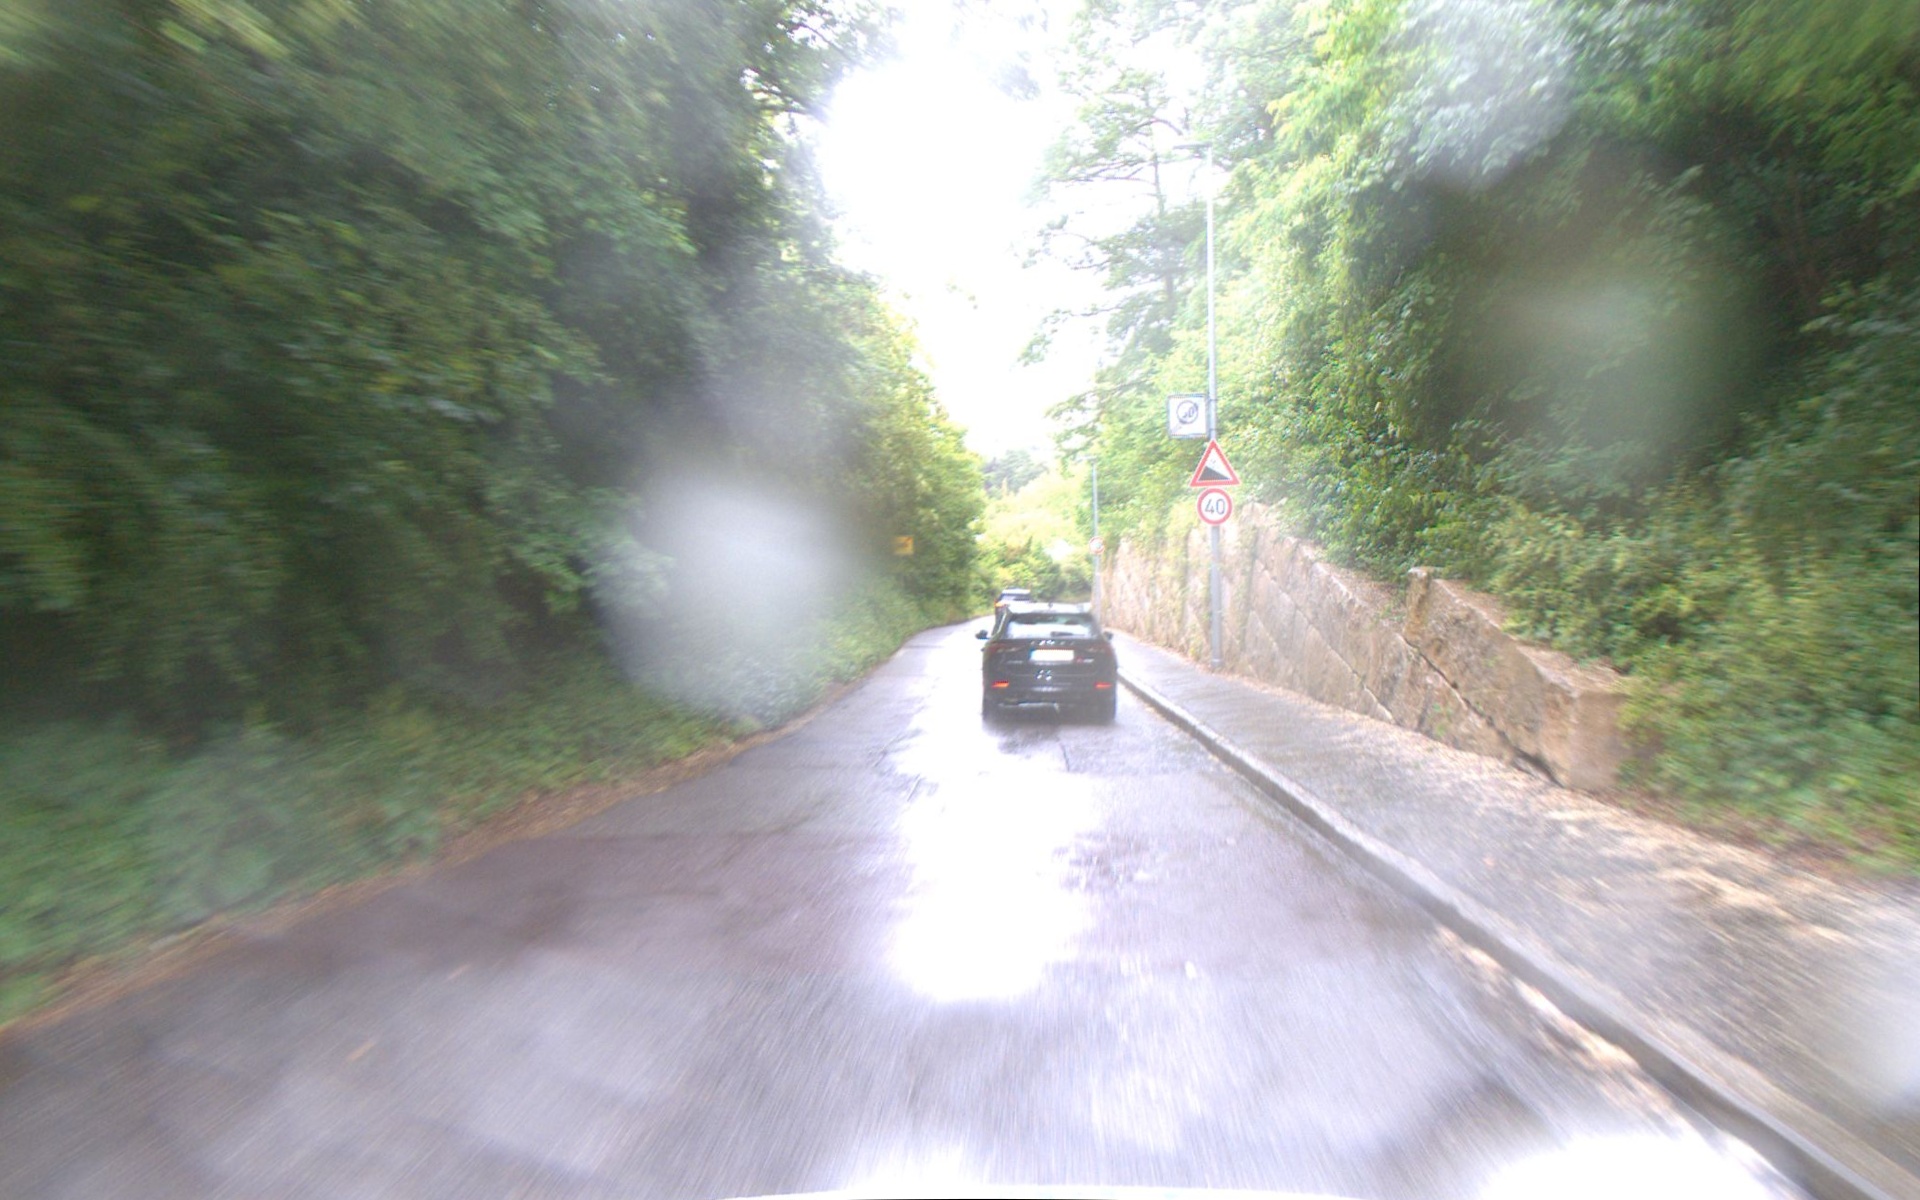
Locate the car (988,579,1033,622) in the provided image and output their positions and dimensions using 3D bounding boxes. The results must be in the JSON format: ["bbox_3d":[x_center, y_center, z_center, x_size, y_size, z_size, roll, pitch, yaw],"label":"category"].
[{"bbox_3d":[2.135,0.018,70.991,1.824,1.773,4.000,1,0,1],"label":"car"}]

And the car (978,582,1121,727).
[{"bbox_3d":[1.119,0.646,22.198,1.665,1.475,4.002,-1,4,0],"label":"car"}]
